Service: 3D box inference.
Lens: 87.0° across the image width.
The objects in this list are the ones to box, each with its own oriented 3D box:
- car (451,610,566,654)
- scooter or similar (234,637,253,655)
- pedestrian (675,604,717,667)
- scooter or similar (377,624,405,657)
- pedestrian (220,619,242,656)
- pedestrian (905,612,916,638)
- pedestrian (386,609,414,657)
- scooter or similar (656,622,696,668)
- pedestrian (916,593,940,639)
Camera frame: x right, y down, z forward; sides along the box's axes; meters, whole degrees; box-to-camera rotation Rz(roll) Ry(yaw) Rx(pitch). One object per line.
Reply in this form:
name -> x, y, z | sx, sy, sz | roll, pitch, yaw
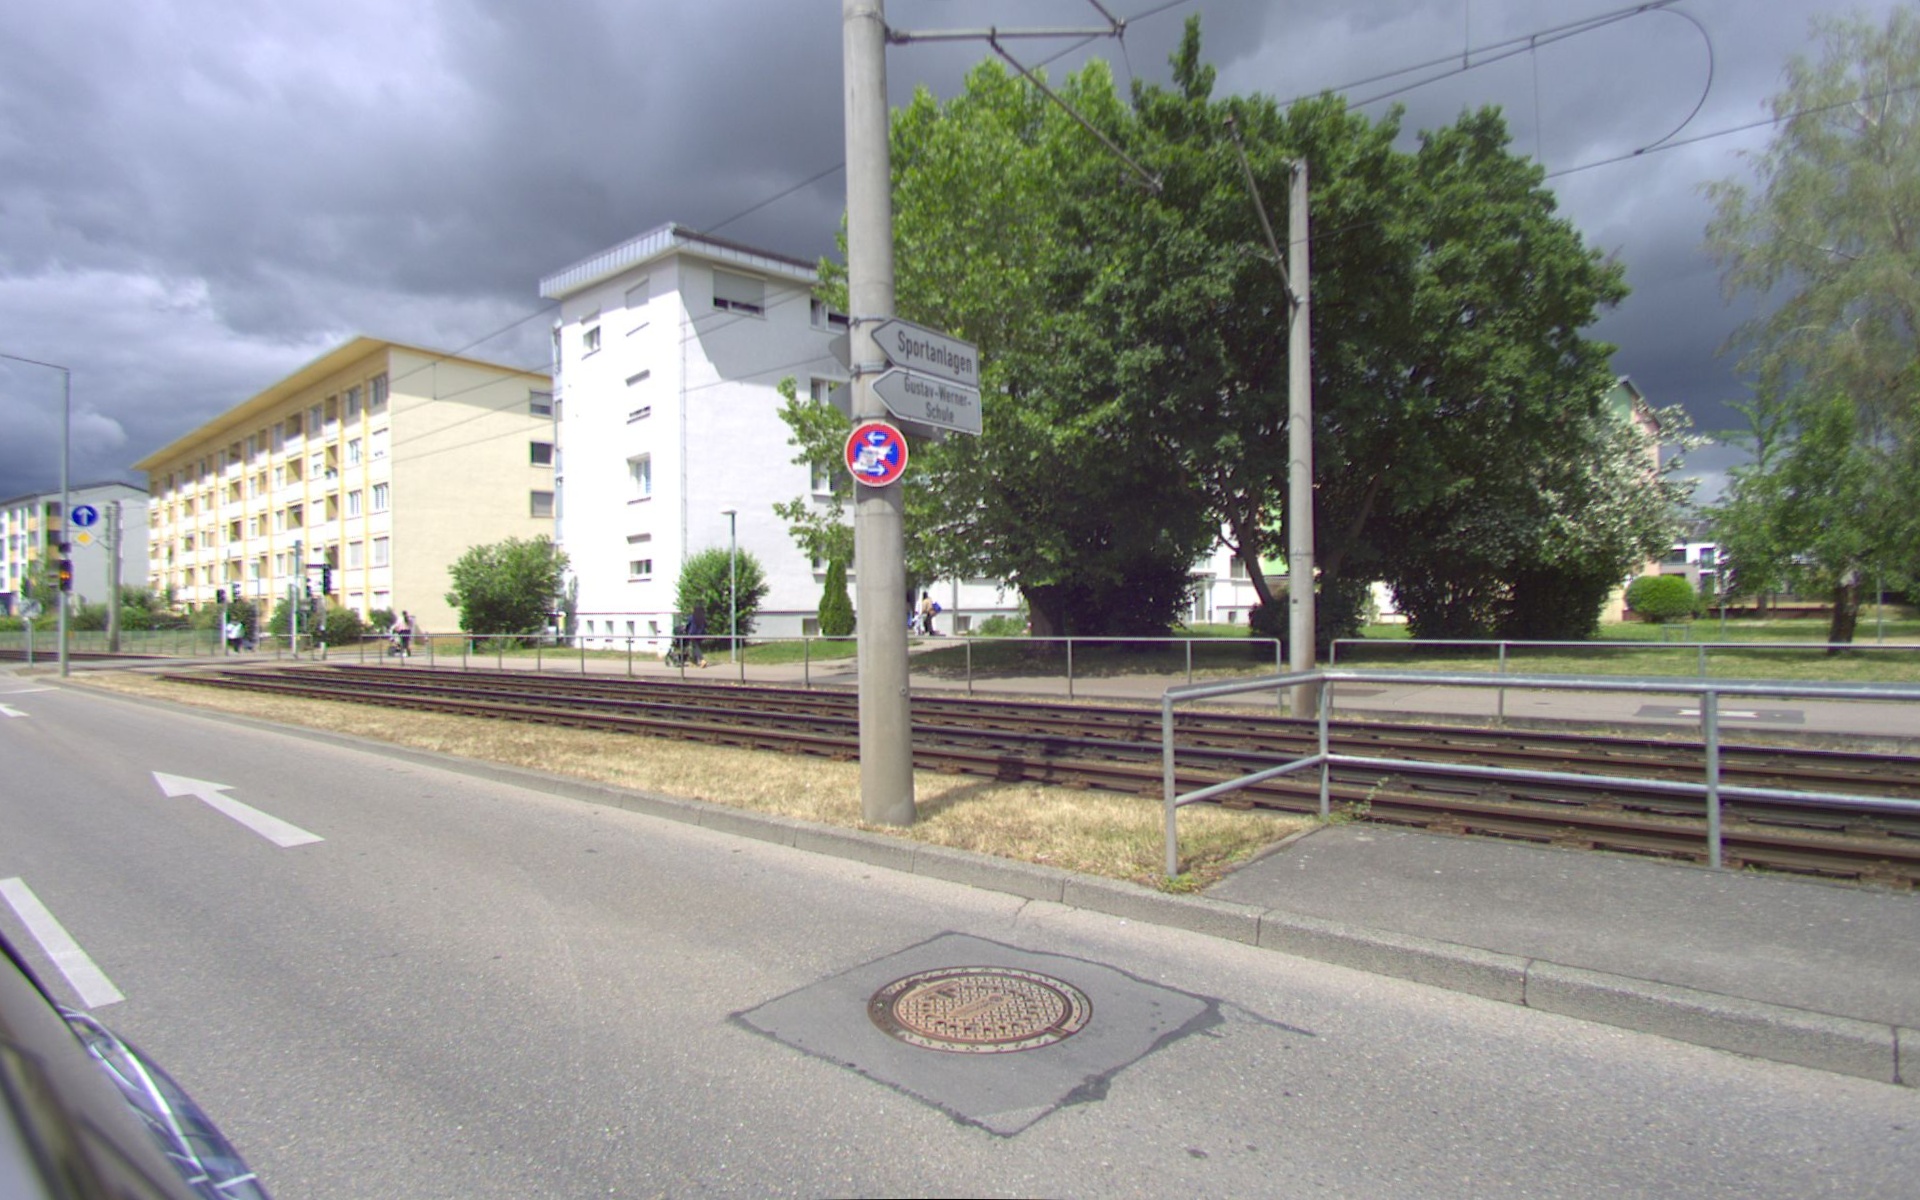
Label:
car -> -19.726, 1.364, 44.283 | 4.227, 1.742, 1.811 | -1, 0, -44
scooter or similar -> -32.416, 2.083, 45.782 | 0.665, 0.779, 0.527 | -1, 1, 39
pedestrian -> -6.661, 0.890, 25.514 | 0.873, 1.552, 0.607 | -1, 0, 39
scooter or similar -> -20.896, 1.466, 37.171 | 0.891, 1.172, 0.602 | -1, 0, 40
pedestrian -> -32.738, 1.682, 45.451 | 0.773, 1.619, 0.598 | -1, 1, 39
pedestrian -> -1.757, 0.895, 35.992 | 0.325, 0.889, 0.256 | -3, 5, -39
pedestrian -> -20.294, 1.184, 36.669 | 0.679, 1.705, 0.638 | -1, 0, 40
scooter or similar -> -7.316, 1.146, 26.050 | 0.820, 1.123, 0.598 | -1, 0, 39
pedestrian -> -1.150, 0.570, 36.177 | 0.675, 1.553, 0.515 | -3, 6, -44
